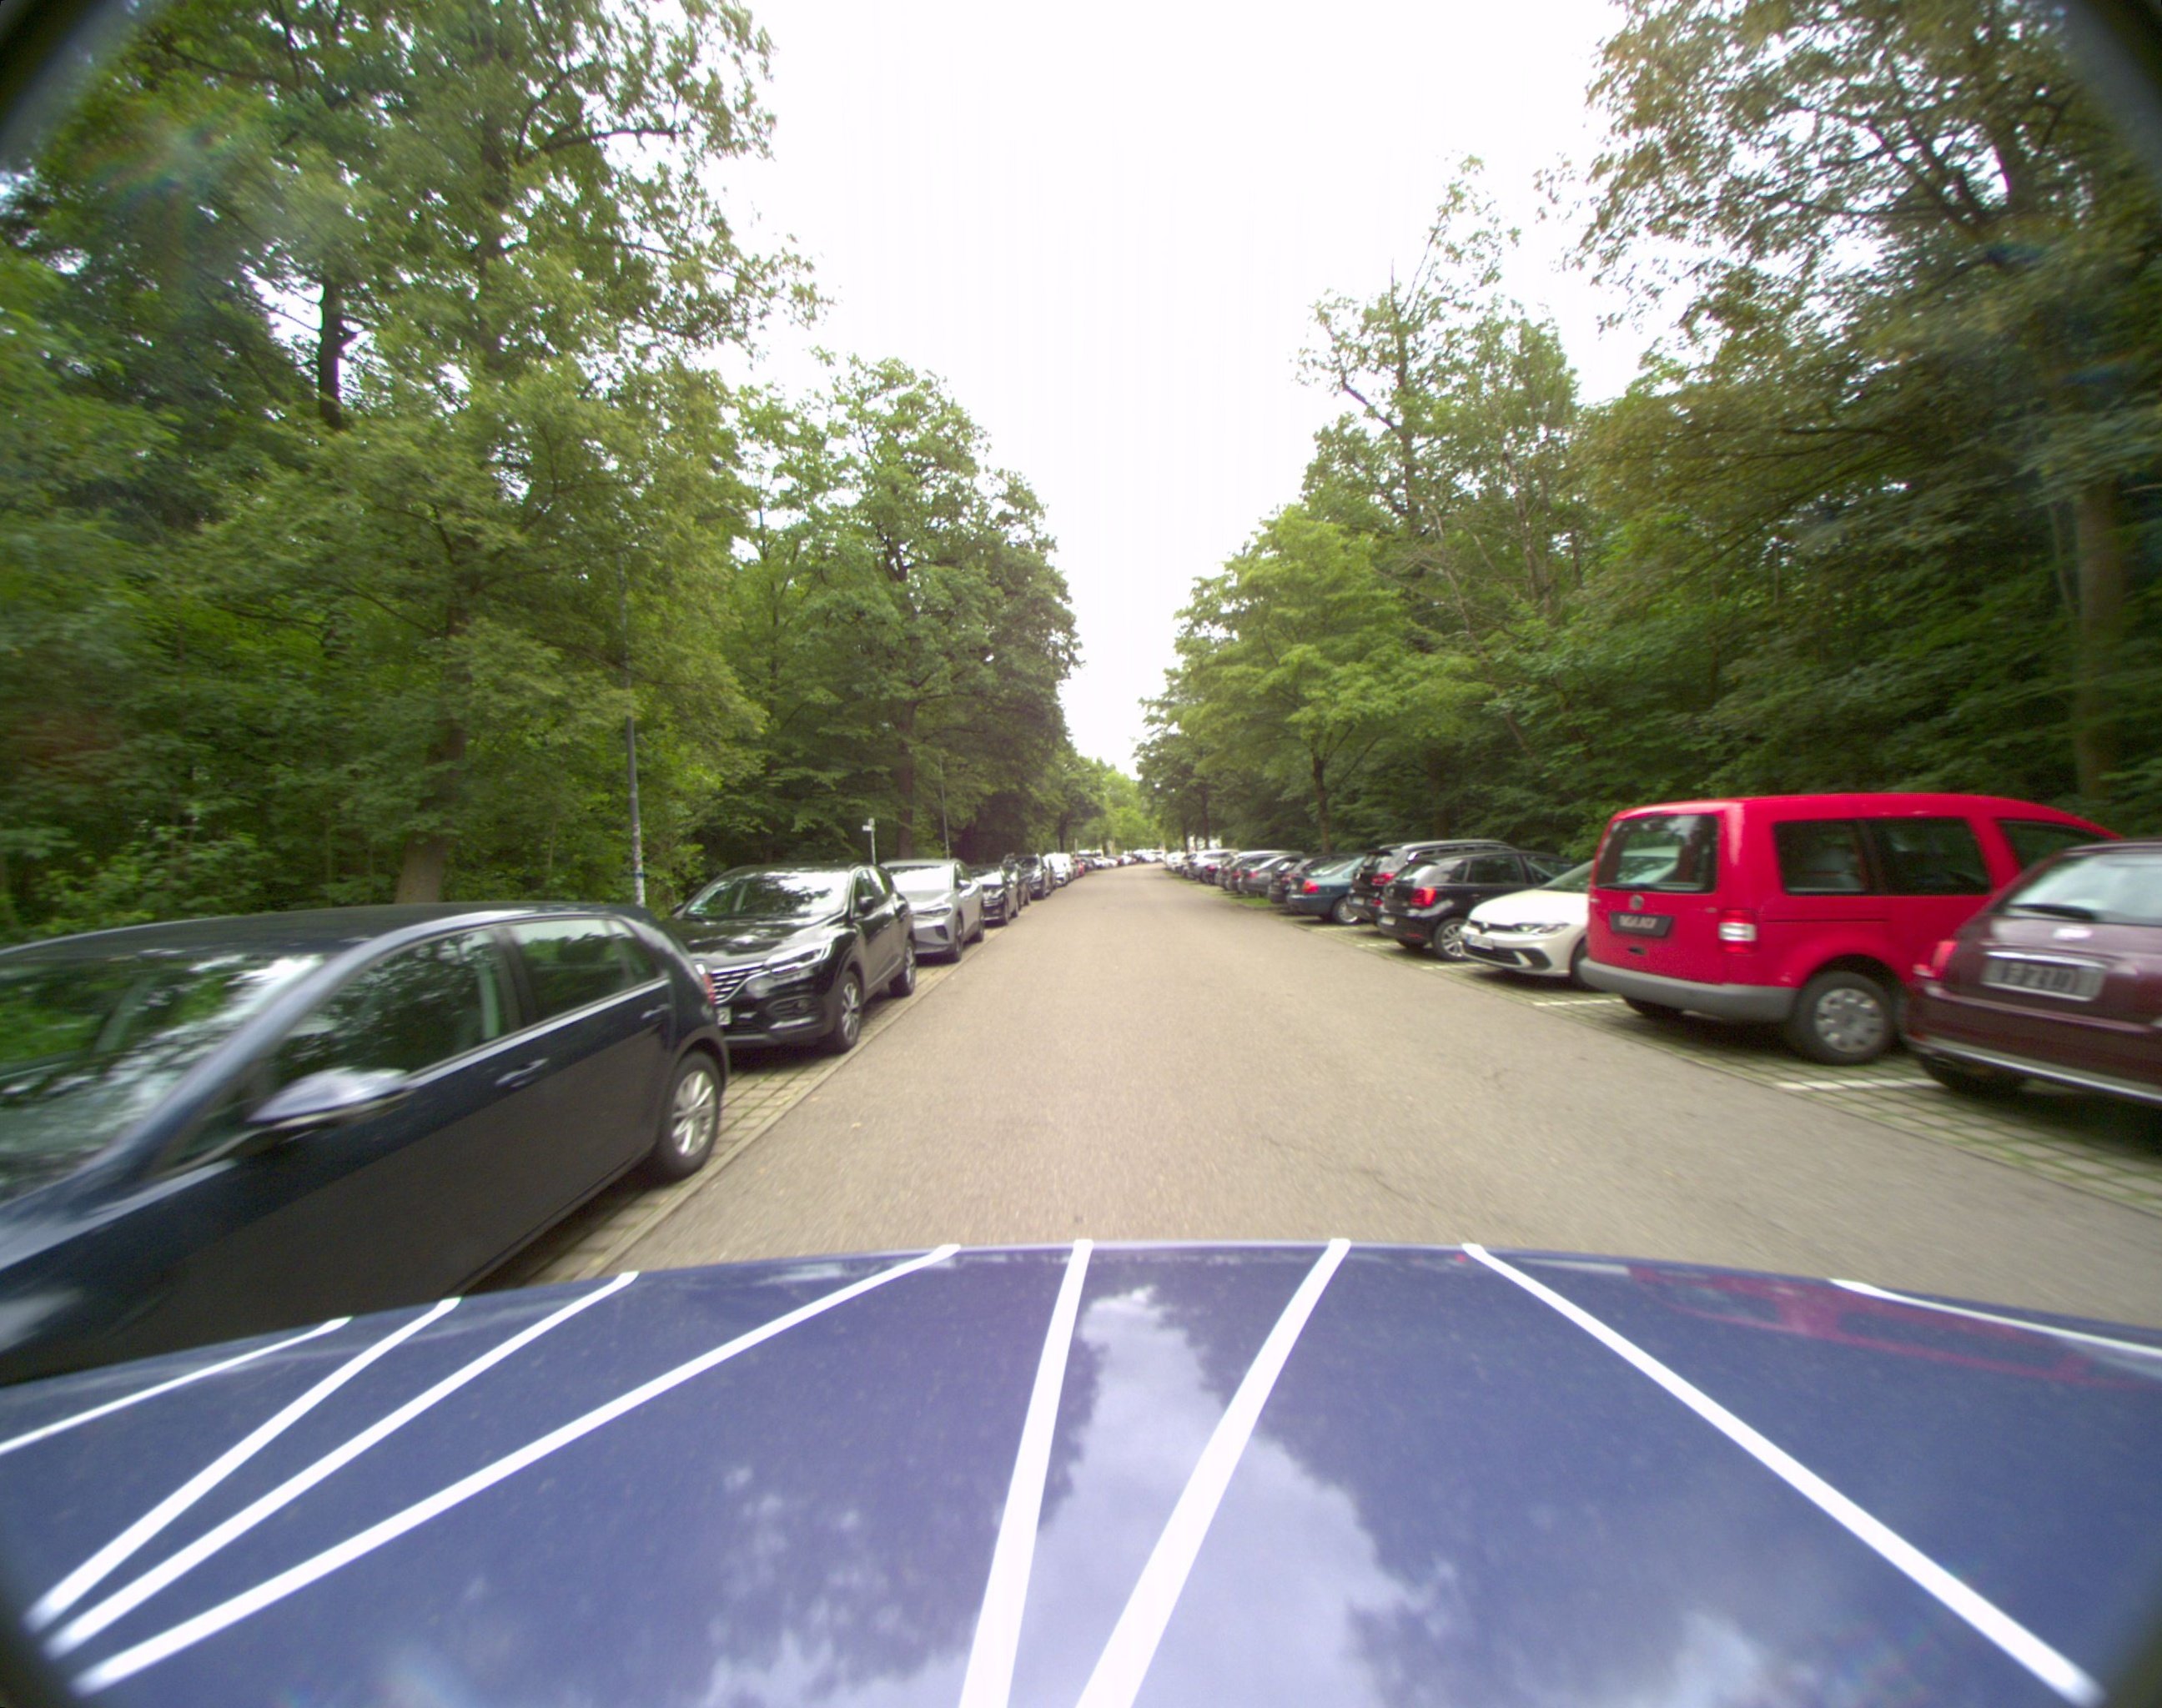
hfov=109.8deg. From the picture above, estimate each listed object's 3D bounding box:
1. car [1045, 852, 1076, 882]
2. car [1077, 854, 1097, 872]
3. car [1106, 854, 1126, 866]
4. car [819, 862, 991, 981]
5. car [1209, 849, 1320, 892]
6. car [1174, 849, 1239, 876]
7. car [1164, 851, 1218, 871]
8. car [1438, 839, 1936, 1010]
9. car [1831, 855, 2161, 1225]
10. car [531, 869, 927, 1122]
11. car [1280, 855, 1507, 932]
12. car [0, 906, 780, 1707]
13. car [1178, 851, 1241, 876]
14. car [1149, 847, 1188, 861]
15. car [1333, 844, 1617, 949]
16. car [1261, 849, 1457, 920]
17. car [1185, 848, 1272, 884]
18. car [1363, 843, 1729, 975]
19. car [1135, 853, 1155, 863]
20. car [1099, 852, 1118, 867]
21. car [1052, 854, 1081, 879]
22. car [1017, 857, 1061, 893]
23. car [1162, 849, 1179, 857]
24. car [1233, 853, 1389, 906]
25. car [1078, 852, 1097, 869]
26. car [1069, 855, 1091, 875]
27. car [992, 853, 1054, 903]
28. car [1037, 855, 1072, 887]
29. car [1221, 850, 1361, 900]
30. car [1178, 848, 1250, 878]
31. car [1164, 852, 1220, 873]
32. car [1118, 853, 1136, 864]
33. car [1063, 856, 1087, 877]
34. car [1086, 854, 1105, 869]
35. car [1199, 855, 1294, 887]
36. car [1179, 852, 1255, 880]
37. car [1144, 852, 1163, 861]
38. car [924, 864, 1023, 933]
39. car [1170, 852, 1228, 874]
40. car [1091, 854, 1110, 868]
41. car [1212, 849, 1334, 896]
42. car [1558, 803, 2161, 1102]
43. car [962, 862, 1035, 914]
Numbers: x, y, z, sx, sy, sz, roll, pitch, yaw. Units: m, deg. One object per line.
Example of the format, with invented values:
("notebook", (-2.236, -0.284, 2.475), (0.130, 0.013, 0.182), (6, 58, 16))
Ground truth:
("car", (-1.253, 0.787, 47.599), (1.642, 1.742, 4.054), (-3, 0, 2))
("car", (0.528, 0.777, 66.681), (1.502, 1.470, 3.667), (-2, 0, 4))
("car", (4.390, 0.773, 94.804), (1.771, 1.308, 3.893), (-2, 1, 13))
("car", (-2.791, 0.986, 13.140), (1.907, 1.577, 4.481), (-2, 0, -1))
("car", (7.403, 0.662, 30.896), (3.998, 1.508, 1.713), (-3, 0, -4))
("car", (8.335, 0.563, 50.800), (3.998, 1.661, 1.713), (-1, 0, -2))
("car", (8.667, 0.547, 60.131), (3.998, 1.469, 1.713), (-1, 0, -2))
("car", (6.347, 0.705, 8.350), (3.996, 1.588, 1.742), (-2, 0, 3))
("car", (6.567, 0.762, 3.695), (3.997, 1.507, 1.818), (-2, 0, 1))
("car", (-2.842, 1.007, 7.400), (1.843, 1.551, 4.423), (-2, 0, -2))
("car", (6.381, 0.792, 15.862), (3.996, 1.413, 1.742), (-2, 0, 3))
("car", (-2.794, 1.089, 2.553), (1.741, 1.426, 4.744), (-2, 0, -2))
("car", (8.940, 0.651, 53.073), (3.998, 1.661, 1.713), (-1, 0, -2))
("car", (9.728, -0.031, 84.275), (3.992, 1.412, 1.784), (-2, 1, 17))
("car", (6.668, 0.689, 13.190), (3.997, 1.588, 1.741), (-2, 0, 0))
("car", (6.547, 0.692, 18.190), (3.997, 1.433, 1.741), (-3, 0, -2))
("car", (7.376, 0.586, 38.252), (3.998, 1.717, 1.713), (-1, 0, -2))
("car", (6.270, 0.717, 10.616), (3.996, 1.588, 1.742), (-2, 0, 3))
("car", (9.599, 0.539, 113.985), (1.770, 1.308, 3.896), (-2, 0, 24))
("car", (3.175, 0.611, 87.583), (1.501, 1.470, 3.668), (-2, 1, 13))
("car", (-0.966, 0.843, 52.679), (1.642, 1.561, 3.667), (-2, 0, 4))
("car", (-1.936, 0.950, 36.404), (1.705, 1.529, 3.962), (-2, 0, 2))
("car", (14.961, -0.169, 127.417), (1.770, 1.308, 3.896), (-2, 0, 23))
("car", (6.913, 0.750, 23.201), (4.220, 1.447, 1.818), (-2, 0, 5))
("car", (0.654, 0.603, 72.068), (1.502, 1.470, 3.667), (-2, 0, 4))
("car", (-0.065, 0.864, 61.451), (1.502, 1.470, 3.667), (-2, 0, 4))
("car", (-2.180, 0.858, 29.728), (1.909, 1.713, 4.486), (-2, 0, 2))
("car", (-1.396, 0.871, 41.000), (1.580, 1.610, 3.962), (-3, 0, 2))
("car", (7.026, 0.678, 25.752), (4.221, 1.528, 1.818), (-1, 0, 1))
("car", (7.971, 0.550, 45.882), (3.998, 1.699, 1.713), (-1, 0, -2))
("car", (8.488, 0.630, 58.215), (3.998, 1.469, 1.713), (-1, 0, -2))
("car", (6.375, 0.577, 104.048), (1.771, 1.308, 3.893), (-2, 1, 13))
("car", (-0.439, 0.926, 57.618), (1.502, 1.470, 3.667), (-2, 0, 4))
("car", (1.504, 0.731, 77.701), (1.501, 1.470, 3.668), (-2, 0, 8))
("car", (7.731, 0.788, 35.662), (3.998, 1.363, 1.713), (-1, 0, -4))
("car", (7.690, 0.669, 43.218), (3.998, 1.480, 1.713), (-1, 0, -2))
("car", (11.393, 0.406, 118.869), (1.770, 1.308, 3.896), (-2, 0, 23))
("car", (-2.552, 1.024, 19.017), (1.824, 1.433, 4.000), (-2, 0, 1))
("car", (8.667, 0.647, 55.935), (3.998, 1.469, 1.713), (-1, 0, -2))
("car", (2.149, 0.761, 82.923), (1.501, 1.331, 3.435), (-2, 0, 9))
("car", (7.052, 0.663, 28.187), (3.998, 1.508, 1.713), (-3, 0, -4))
("car", (6.151, 0.603, 5.682), (3.997, 1.804, 1.818), (-2, 0, 0))
("car", (-2.584, 1.041, 24.816), (1.750, 1.418, 4.189), (-2, 0, 2))
